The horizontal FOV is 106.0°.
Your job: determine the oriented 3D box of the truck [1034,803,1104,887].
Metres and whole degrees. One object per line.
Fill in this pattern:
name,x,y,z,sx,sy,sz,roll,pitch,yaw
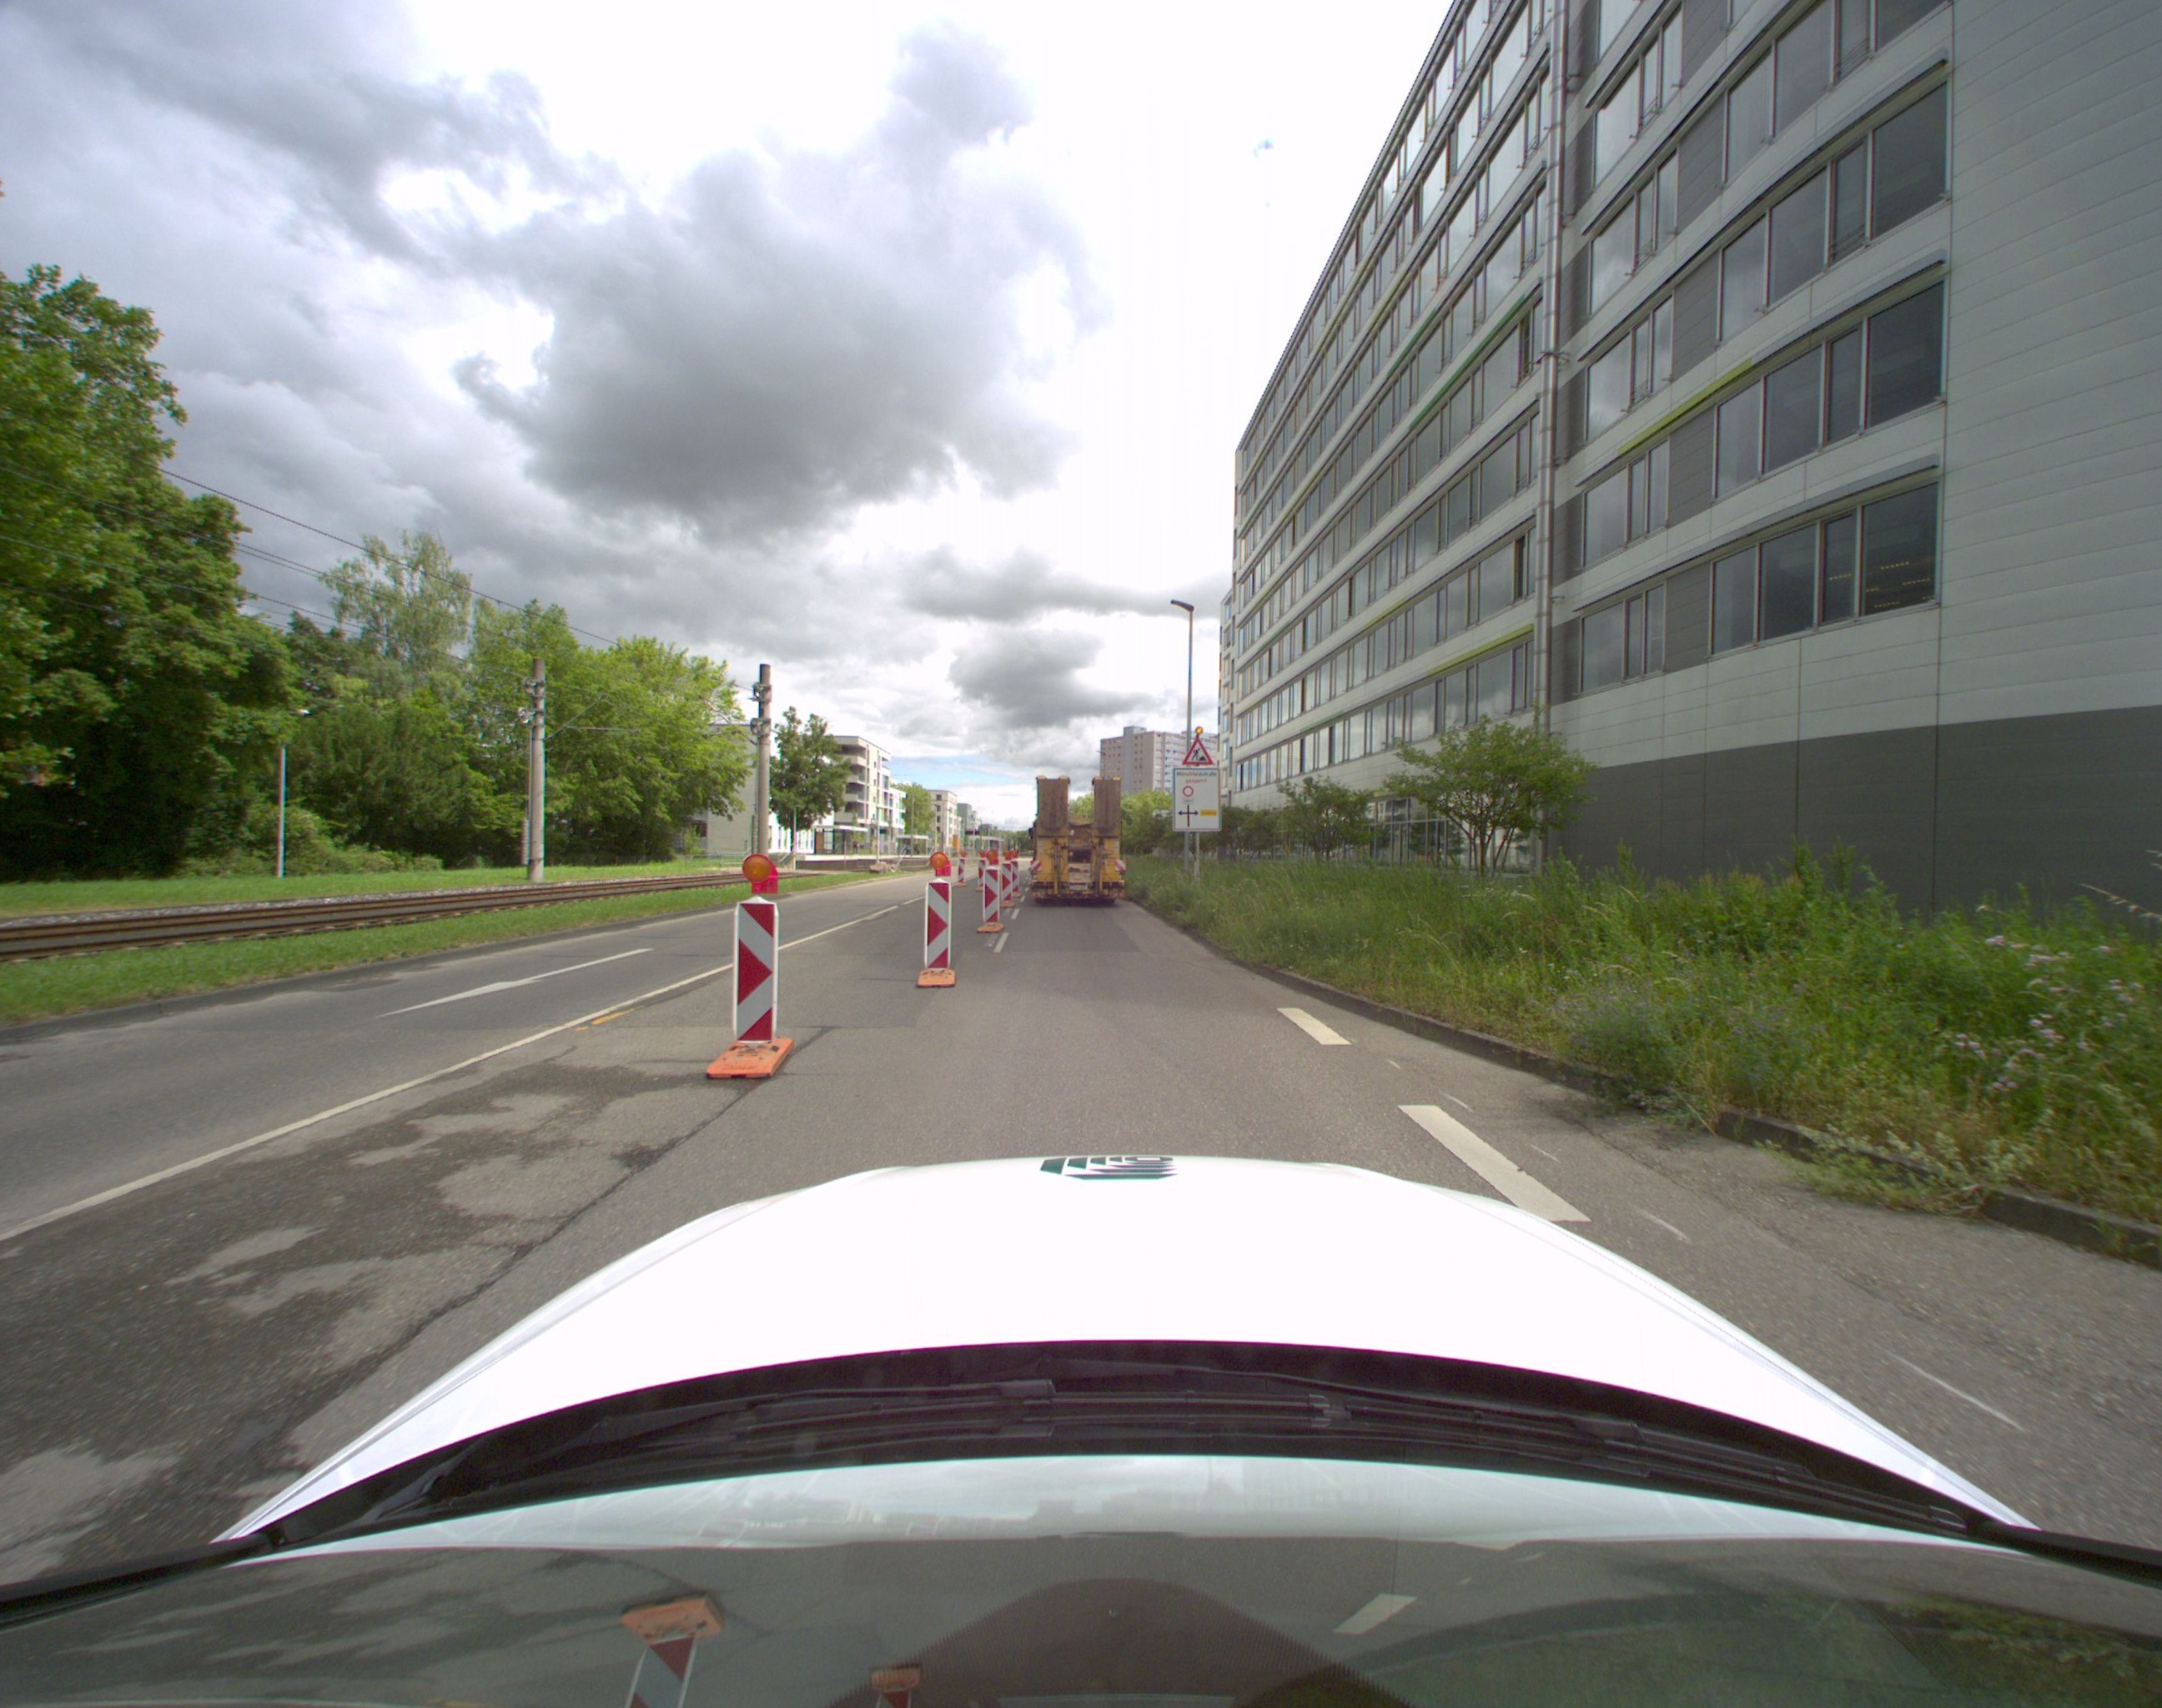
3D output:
truck,-0.591,-0.351,36.769,2.746,3.313,8.346,1,0,-2

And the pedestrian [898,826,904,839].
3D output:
pedestrian,-23.855,-2.896,107.946,0.669,1.725,0.492,1,-3,43

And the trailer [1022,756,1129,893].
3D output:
trailer,-0.278,-0.764,26.987,2.721,3.559,11.246,1,0,-1

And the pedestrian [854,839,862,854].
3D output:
pedestrian,-22.795,-0.737,83.337,0.741,1.531,0.545,1,0,-9
